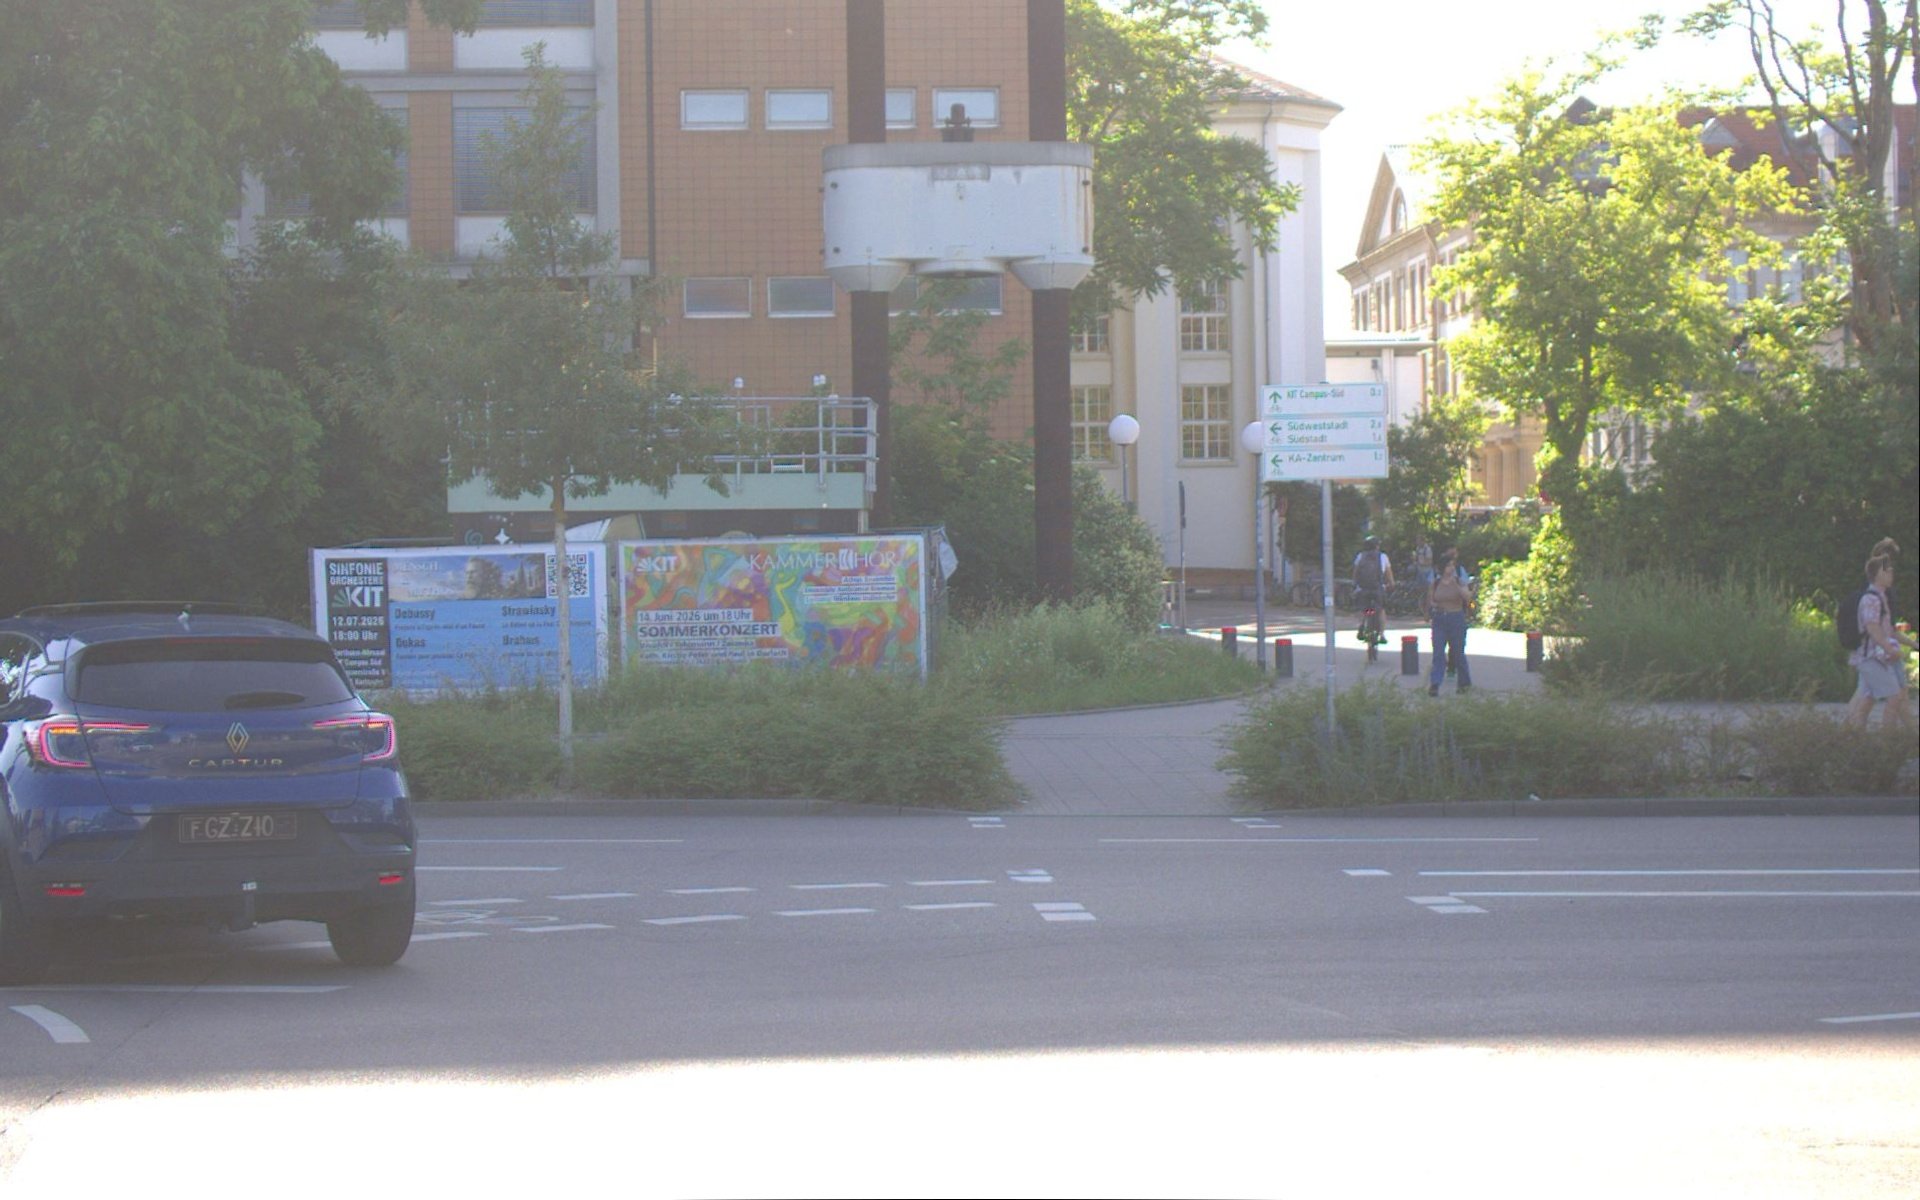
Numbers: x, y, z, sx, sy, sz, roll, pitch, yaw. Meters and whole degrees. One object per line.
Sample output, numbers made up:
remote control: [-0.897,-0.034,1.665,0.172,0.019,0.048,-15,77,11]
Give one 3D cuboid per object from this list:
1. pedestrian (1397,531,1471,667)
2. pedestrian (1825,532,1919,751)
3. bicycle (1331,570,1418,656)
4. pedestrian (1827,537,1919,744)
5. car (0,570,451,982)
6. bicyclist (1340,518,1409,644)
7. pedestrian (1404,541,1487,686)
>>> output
pedestrian: [5.835,-0.014,42.338,0.676,1.637,0.735,2,1,25]
pedestrian: [7.753,0.342,29.181,0.734,1.810,0.731,2,1,16]
bicycle: [5.777,0.173,47.837,0.746,1.161,1.868,0,1,21]
pedestrian: [8.037,0.349,30.226,0.734,1.776,0.731,2,1,16]
car: [-3.852,0.780,15.703,1.876,1.612,3.797,-1,-2,-27]
bicyclist: [5.768,-0.272,47.825,0.720,1.729,0.977,0,1,21]
pedestrian: [5.580,0.151,39.491,0.677,1.637,0.734,2,1,30]
